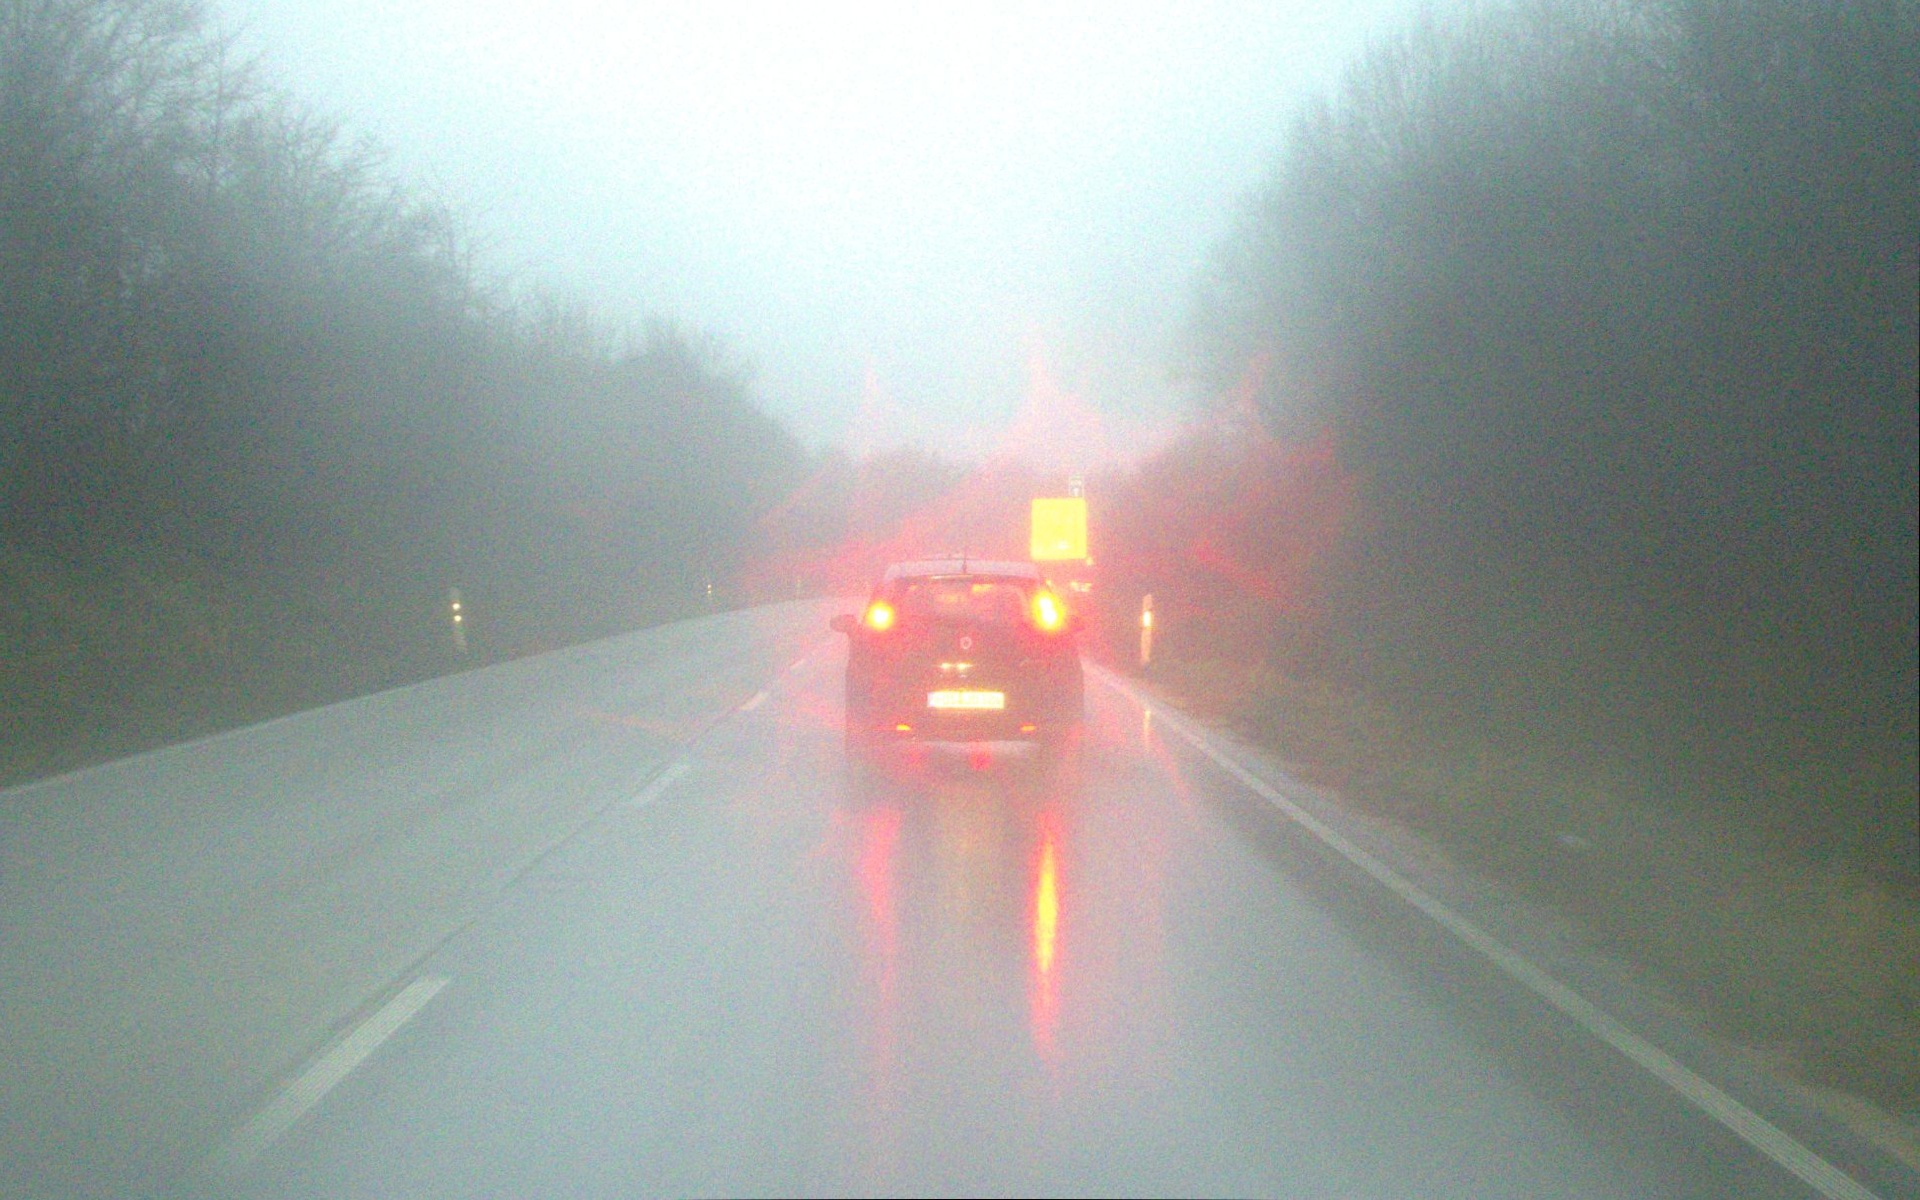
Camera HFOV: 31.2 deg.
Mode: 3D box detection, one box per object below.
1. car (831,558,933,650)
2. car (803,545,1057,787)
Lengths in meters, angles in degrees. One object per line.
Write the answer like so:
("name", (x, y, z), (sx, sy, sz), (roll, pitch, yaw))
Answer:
("car", (-1.404, 0.052, 63.293), (1.728, 1.638, 4.000), (0, 1, 1))
("car", (-0.174, 0.427, 25.398), (1.728, 1.638, 4.000), (0, 1, 1))
